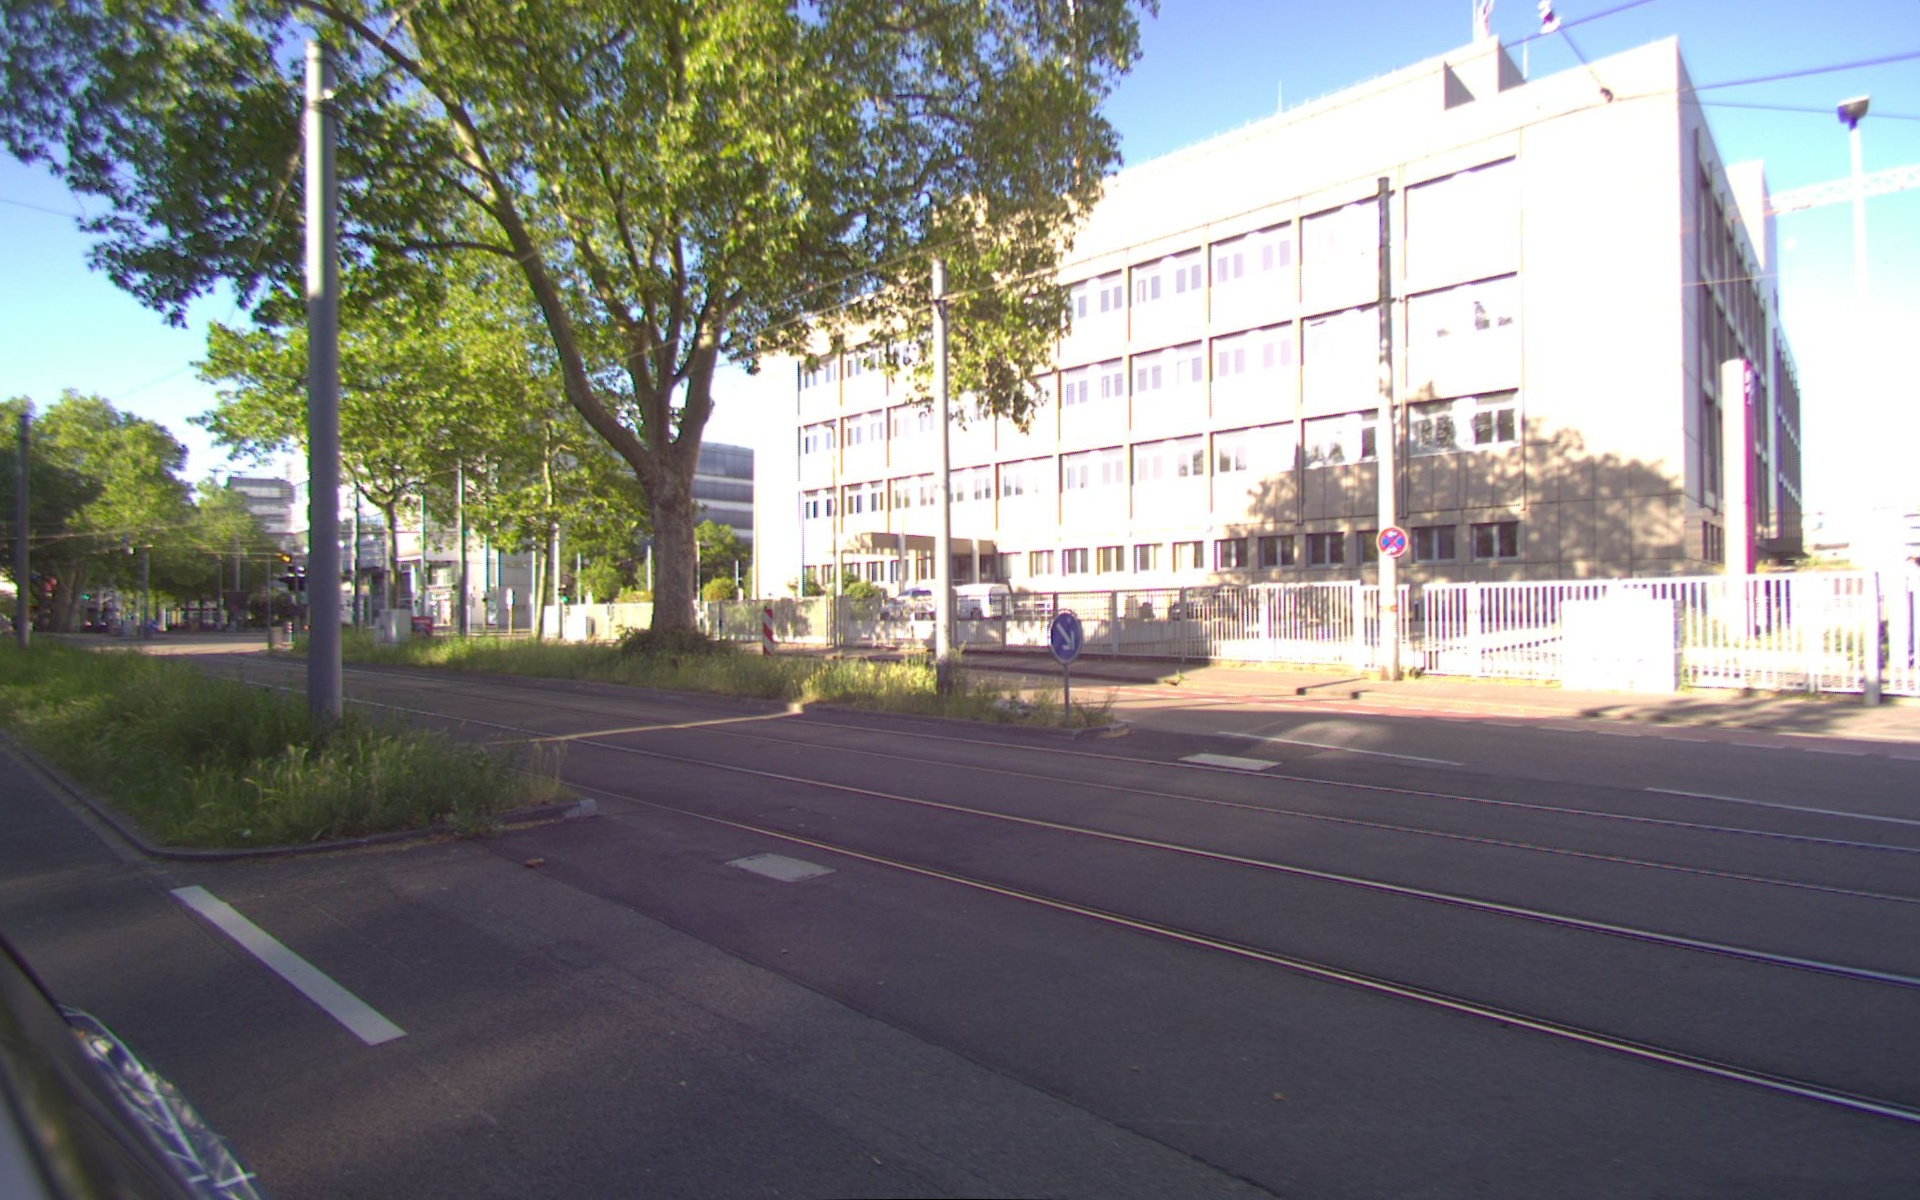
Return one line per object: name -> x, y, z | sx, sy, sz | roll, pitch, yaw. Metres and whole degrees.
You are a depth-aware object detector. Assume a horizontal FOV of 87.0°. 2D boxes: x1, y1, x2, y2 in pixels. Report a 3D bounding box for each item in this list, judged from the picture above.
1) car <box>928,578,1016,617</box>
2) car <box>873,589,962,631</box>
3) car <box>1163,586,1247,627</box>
car -> 0.560, -0.098, 48.382 | 4.000, 1.765, 1.827 | -1, 0, 43
car -> -1.987, 0.467, 46.683 | 4.000, 1.831, 1.827 | -1, 0, 43
car -> 10.927, 0.254, 44.973 | 1.853, 1.732, 4.221 | -1, 0, 42
